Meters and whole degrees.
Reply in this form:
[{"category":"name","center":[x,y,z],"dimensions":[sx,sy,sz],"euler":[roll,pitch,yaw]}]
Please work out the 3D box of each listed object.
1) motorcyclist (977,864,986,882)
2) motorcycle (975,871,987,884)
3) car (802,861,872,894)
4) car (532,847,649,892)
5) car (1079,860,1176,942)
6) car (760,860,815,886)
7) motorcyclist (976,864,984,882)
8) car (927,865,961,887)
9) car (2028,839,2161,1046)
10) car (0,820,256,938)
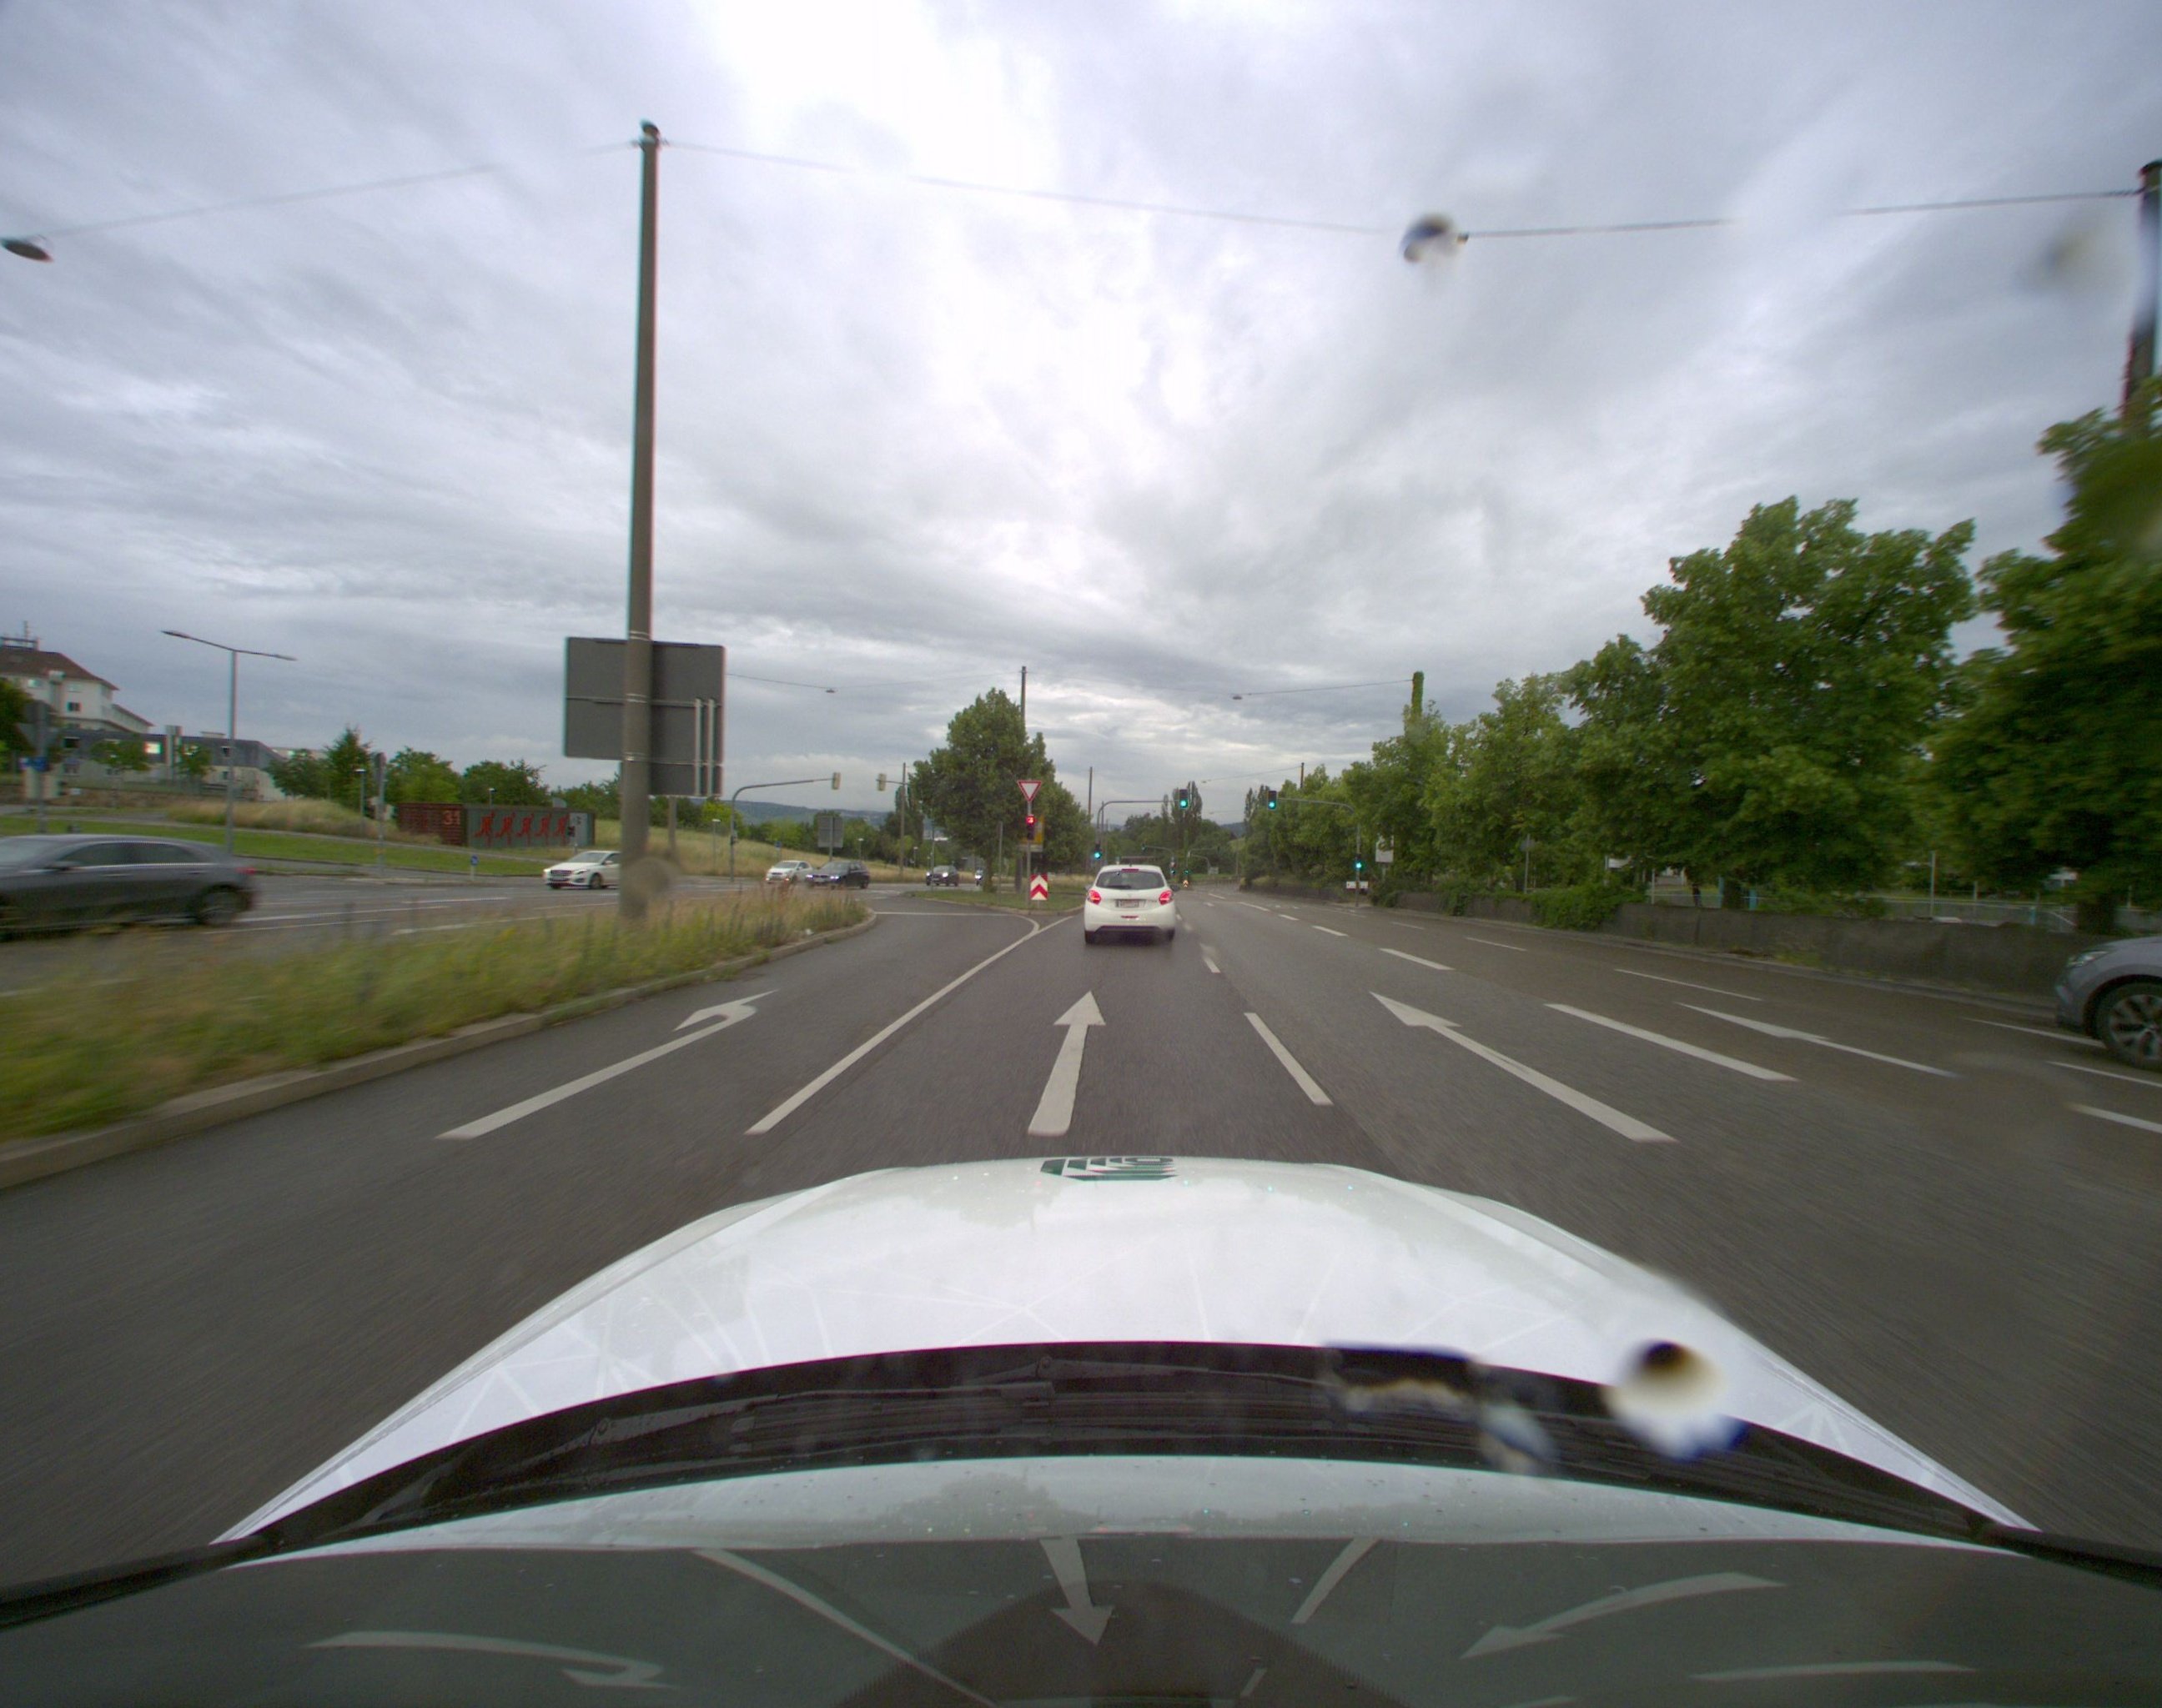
[{"category":"motorcyclist","center":[-8.996,1.705,73.556],"dimensions":[0.609,1.581,0.583],"euler":[1,-1,4]},{"category":"motorcycle","center":[-9.014,2.088,73.406],"dimensions":[0.614,1.050,2.505],"euler":[1,0,5]},{"category":"car","center":[-12.048,1.173,40.571],"dimensions":[1.742,1.504,4.470],"euler":[1,-1,5]},{"category":"car","center":[-19.422,0.652,32.465],"dimensions":[1.759,1.648,4.183],"euler":[1,-2,5]},{"category":"car","center":[0.982,0.870,16.246],"dimensions":[1.700,1.440,3.695],"euler":[0,-1,5]},{"category":"car","center":[-17.808,1.161,49.605],"dimensions":[1.643,1.463,3.779],"euler":[1,-2,5]},{"category":"motorcyclist","center":[-9.033,1.696,72.873],"dimensions":[0.579,1.596,0.644],"euler":[1,0,4]},{"category":"car","center":[-10.282,1.671,61.351],"dimensions":[1.531,1.504,3.667],"euler":[1,-2,5]},{"category":"car","center":[9.472,0.787,5.110],"dimensions":[1.718,1.648,4.629],"euler":[3,1,3]},{"category":"car","center":[-14.746,0.327,11.537],"dimensions":[1.759,1.518,4.005],"euler":[1,-1,5]}]
